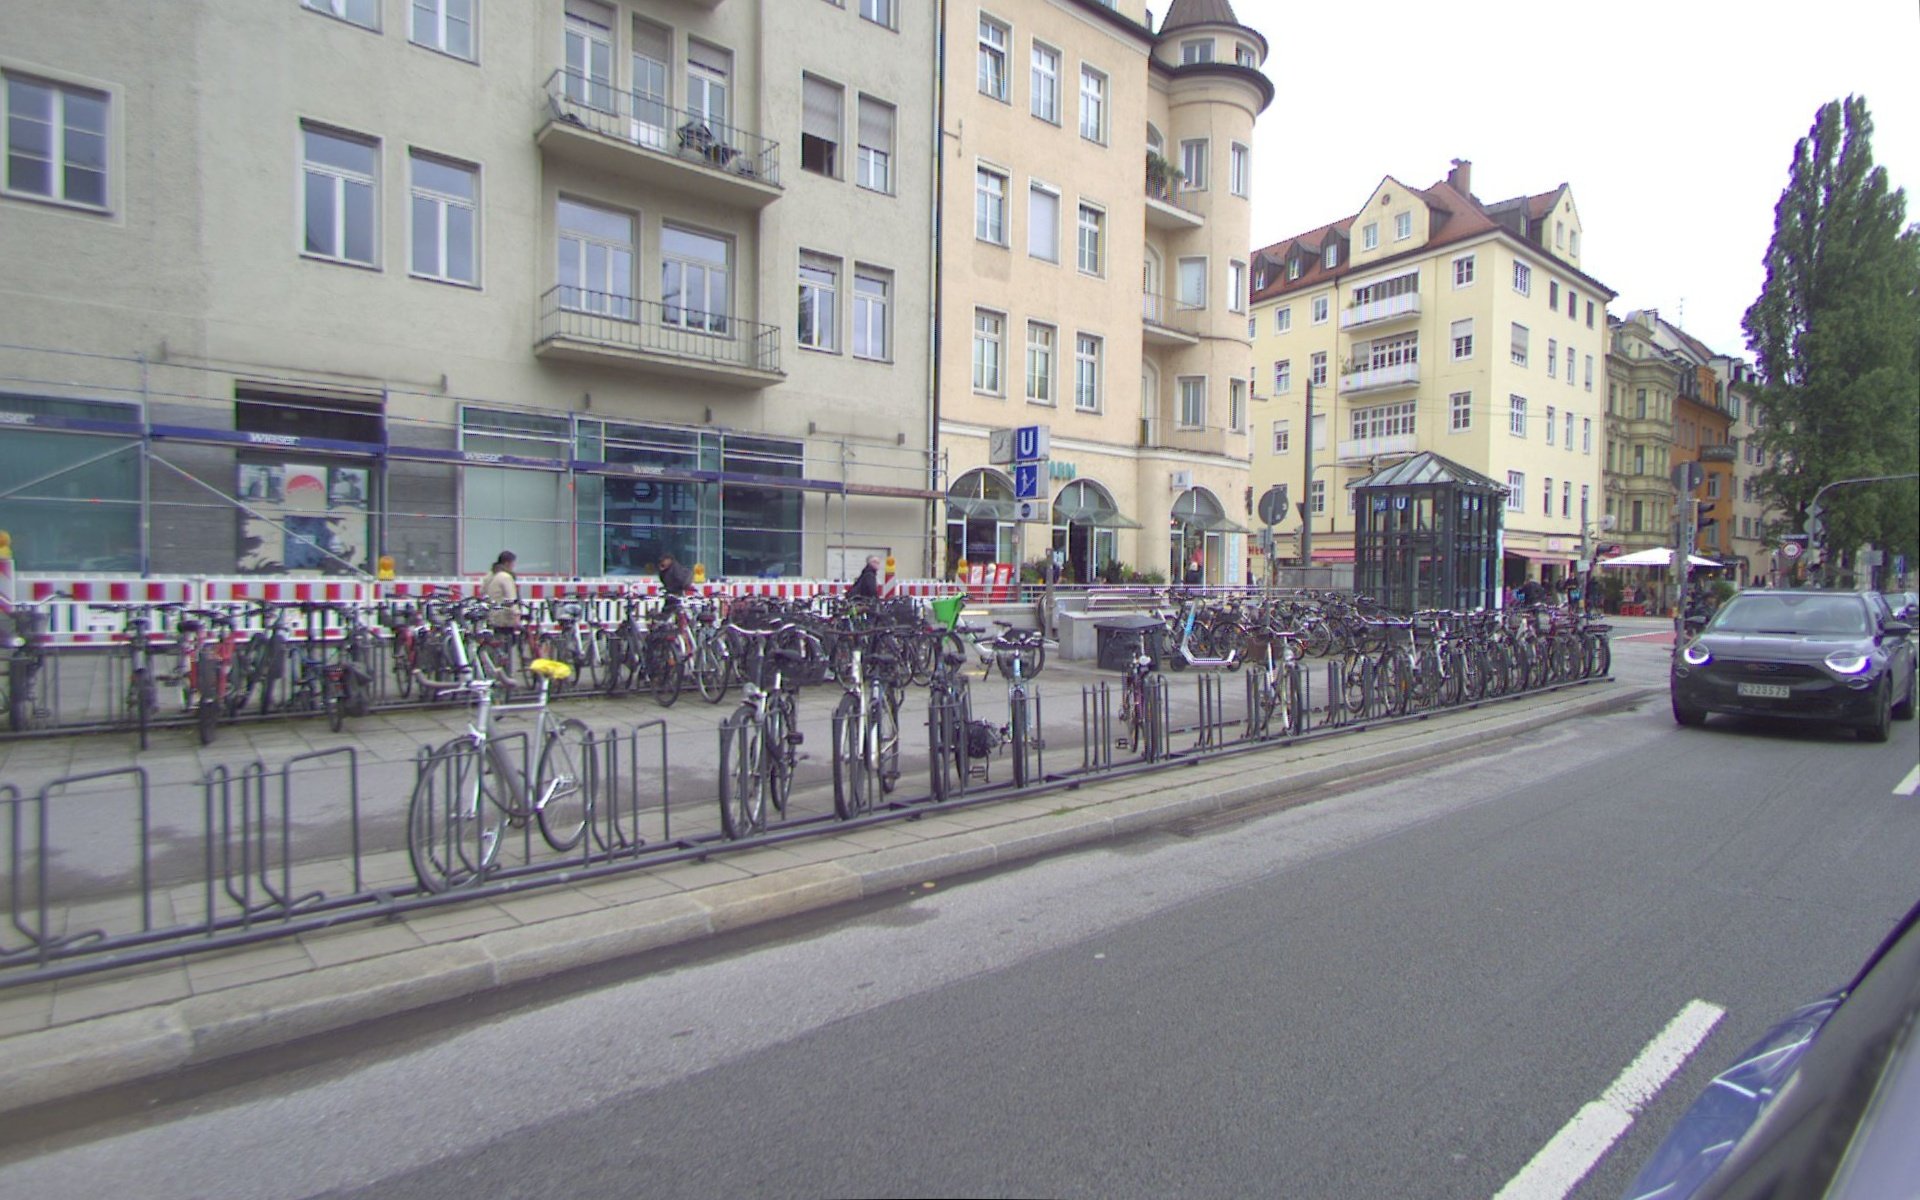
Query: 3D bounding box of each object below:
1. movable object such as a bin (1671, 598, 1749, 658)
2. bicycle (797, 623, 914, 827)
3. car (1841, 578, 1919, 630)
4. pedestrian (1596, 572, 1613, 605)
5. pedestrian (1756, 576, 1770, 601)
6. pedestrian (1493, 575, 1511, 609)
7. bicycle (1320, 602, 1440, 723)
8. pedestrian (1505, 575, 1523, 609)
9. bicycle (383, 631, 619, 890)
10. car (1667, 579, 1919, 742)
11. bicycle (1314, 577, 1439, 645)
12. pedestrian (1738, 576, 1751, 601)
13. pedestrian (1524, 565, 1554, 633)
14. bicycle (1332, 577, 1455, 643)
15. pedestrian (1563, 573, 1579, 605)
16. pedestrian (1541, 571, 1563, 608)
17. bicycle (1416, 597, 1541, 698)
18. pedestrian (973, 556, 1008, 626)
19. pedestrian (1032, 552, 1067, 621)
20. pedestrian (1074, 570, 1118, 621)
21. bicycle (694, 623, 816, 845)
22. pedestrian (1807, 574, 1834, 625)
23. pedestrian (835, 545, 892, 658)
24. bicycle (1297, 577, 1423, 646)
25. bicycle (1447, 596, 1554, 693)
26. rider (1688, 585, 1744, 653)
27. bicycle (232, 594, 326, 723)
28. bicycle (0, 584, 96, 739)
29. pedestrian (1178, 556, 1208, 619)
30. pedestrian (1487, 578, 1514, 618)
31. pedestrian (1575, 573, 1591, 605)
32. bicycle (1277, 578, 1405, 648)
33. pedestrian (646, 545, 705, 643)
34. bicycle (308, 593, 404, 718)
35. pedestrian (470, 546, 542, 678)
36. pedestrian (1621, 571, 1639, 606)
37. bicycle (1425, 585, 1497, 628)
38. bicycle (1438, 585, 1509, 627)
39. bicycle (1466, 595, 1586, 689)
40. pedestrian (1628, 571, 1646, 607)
[{"bbox_3d":[14.960,0.533,20.186,0.735,1.075,1.088,-1,5,-43],"label":"movable object such as a bin"},{"bbox_3d":[-0.594,0.687,6.274,0.390,1.073,1.849,0,-2,5],"label":"bicycle"},{"bbox_3d":[31.935,0.083,34.824,3.930,1.644,1.853,-1,1,-40],"label":"car"},{"bbox_3d":[33.849,-0.621,53.129,0.575,1.705,0.552,0,2,-39],"label":"pedestrian"},{"bbox_3d":[54.994,-0.802,69.312,0.575,1.705,0.552,0,2,-39],"label":"pedestrian"},{"bbox_3d":[24.622,-0.366,45.956,0.575,1.544,0.528,0,2,-39],"label":"pedestrian"},{"bbox_3d":[4.460,0.615,10.875,0.480,1.151,1.797,0,1,-2],"label":"bicycle"},{"bbox_3d":[24.955,-0.362,45.574,0.575,1.544,0.528,0,2,-39],"label":"pedestrian"},{"bbox_3d":[-2.128,0.665,4.929,0.379,1.024,1.802,0,-2,-2],"label":"bicycle"},{"bbox_3d":[9.521,0.525,11.312,3.980,1.488,1.739,-1,1,-41],"label":"car"},{"bbox_3d":[8.354,0.186,20.430,0.617,1.242,2.319,0,2,-37],"label":"bicycle"},{"bbox_3d":[53.636,-0.780,69.199,0.575,1.705,0.552,0,2,-39],"label":"pedestrian"},{"bbox_3d":[15.595,-0.048,27.274,0.634,1.799,0.605,1,1,27],"label":"pedestrian"},{"bbox_3d":[8.901,0.172,20.875,0.617,1.242,2.319,0,2,-37],"label":"bicycle"},{"bbox_3d":[29.675,-0.528,49.155,0.527,1.544,0.576,2,2,42],"label":"pedestrian"},{"bbox_3d":[27.908,-0.490,47.682,0.612,1.687,0.684,0,2,-38],"label":"pedestrian"},{"bbox_3d":[6.457,0.556,12.704,0.468,1.151,1.681,0,1,-10],"label":"bicycle"},{"bbox_3d":[0.700,-0.217,23.183,0.580,1.560,0.566,-2,3,-41],"label":"pedestrian"},{"bbox_3d":[2.303,-0.359,26.015,0.634,1.759,0.617,-2,3,-41],"label":"pedestrian"},{"bbox_3d":[3.501,-0.123,25.979,0.903,1.260,0.700,-2,3,-41],"label":"pedestrian"},{"bbox_3d":[-1.124,0.675,5.823,0.390,1.073,1.802,0,-2,-2],"label":"bicycle"},{"bbox_3d":[31.767,-0.046,37.367,0.729,1.823,0.700,2,4,41],"label":"pedestrian"},{"bbox_3d":[-1.514,0.017,15.993,0.728,1.729,0.703,1,1,9],"label":"pedestrian"},{"bbox_3d":[7.857,0.200,20.007,0.617,1.242,2.319,0,2,-37],"label":"bicycle"},{"bbox_3d":[6.995,0.541,13.182,0.469,1.151,1.679,0,1,-1],"label":"bicycle"},{"bbox_3d":[15.030,0.365,20.122,0.721,1.256,0.731,-1,4,-43],"label":"rider"},{"bbox_3d":[-6.539,0.521,9.694,1.447,1.091,0.404,4,3,42],"label":"bicycle"},{"bbox_3d":[-7.678,0.460,8.469,0.402,1.116,1.636,0,3,-31],"label":"bicycle"},{"bbox_3d":[6.462,-0.355,28.091,0.580,1.721,0.566,-2,3,-41],"label":"pedestrian"},{"bbox_3d":[22.044,-0.098,41.259,0.817,1.586,0.714,-1,1,-40],"label":"pedestrian"},{"bbox_3d":[30.066,-0.525,48.810,0.527,1.544,0.576,2,2,42],"label":"pedestrian"},{"bbox_3d":[7.349,0.212,19.646,0.617,1.242,2.319,0,2,-37],"label":"bicycle"},{"bbox_3d":[-4.917,-0.119,17.478,0.819,1.652,0.564,0,2,-37],"label":"pedestrian"},{"bbox_3d":[-5.974,0.509,9.984,1.447,1.091,0.404,4,3,42],"label":"bicycle"},{"bbox_3d":[-5.678,0.135,12.662,0.655,1.602,0.532,2,1,26],"label":"pedestrian"},{"bbox_3d":[32.740,-0.560,49.482,0.575,1.705,0.552,0,2,-39],"label":"pedestrian"},{"bbox_3d":[14.534,0.174,29.394,0.597,1.141,1.828,1,1,-27],"label":"bicycle"},{"bbox_3d":[15.075,0.162,29.739,0.597,1.141,1.828,1,1,-27],"label":"bicycle"},{"bbox_3d":[7.587,0.525,13.660,0.469,1.151,1.787,0,1,-6],"label":"bicycle"},{"bbox_3d":[32.603,-0.537,48.714,0.575,1.705,0.552,0,2,-39],"label":"pedestrian"}]
